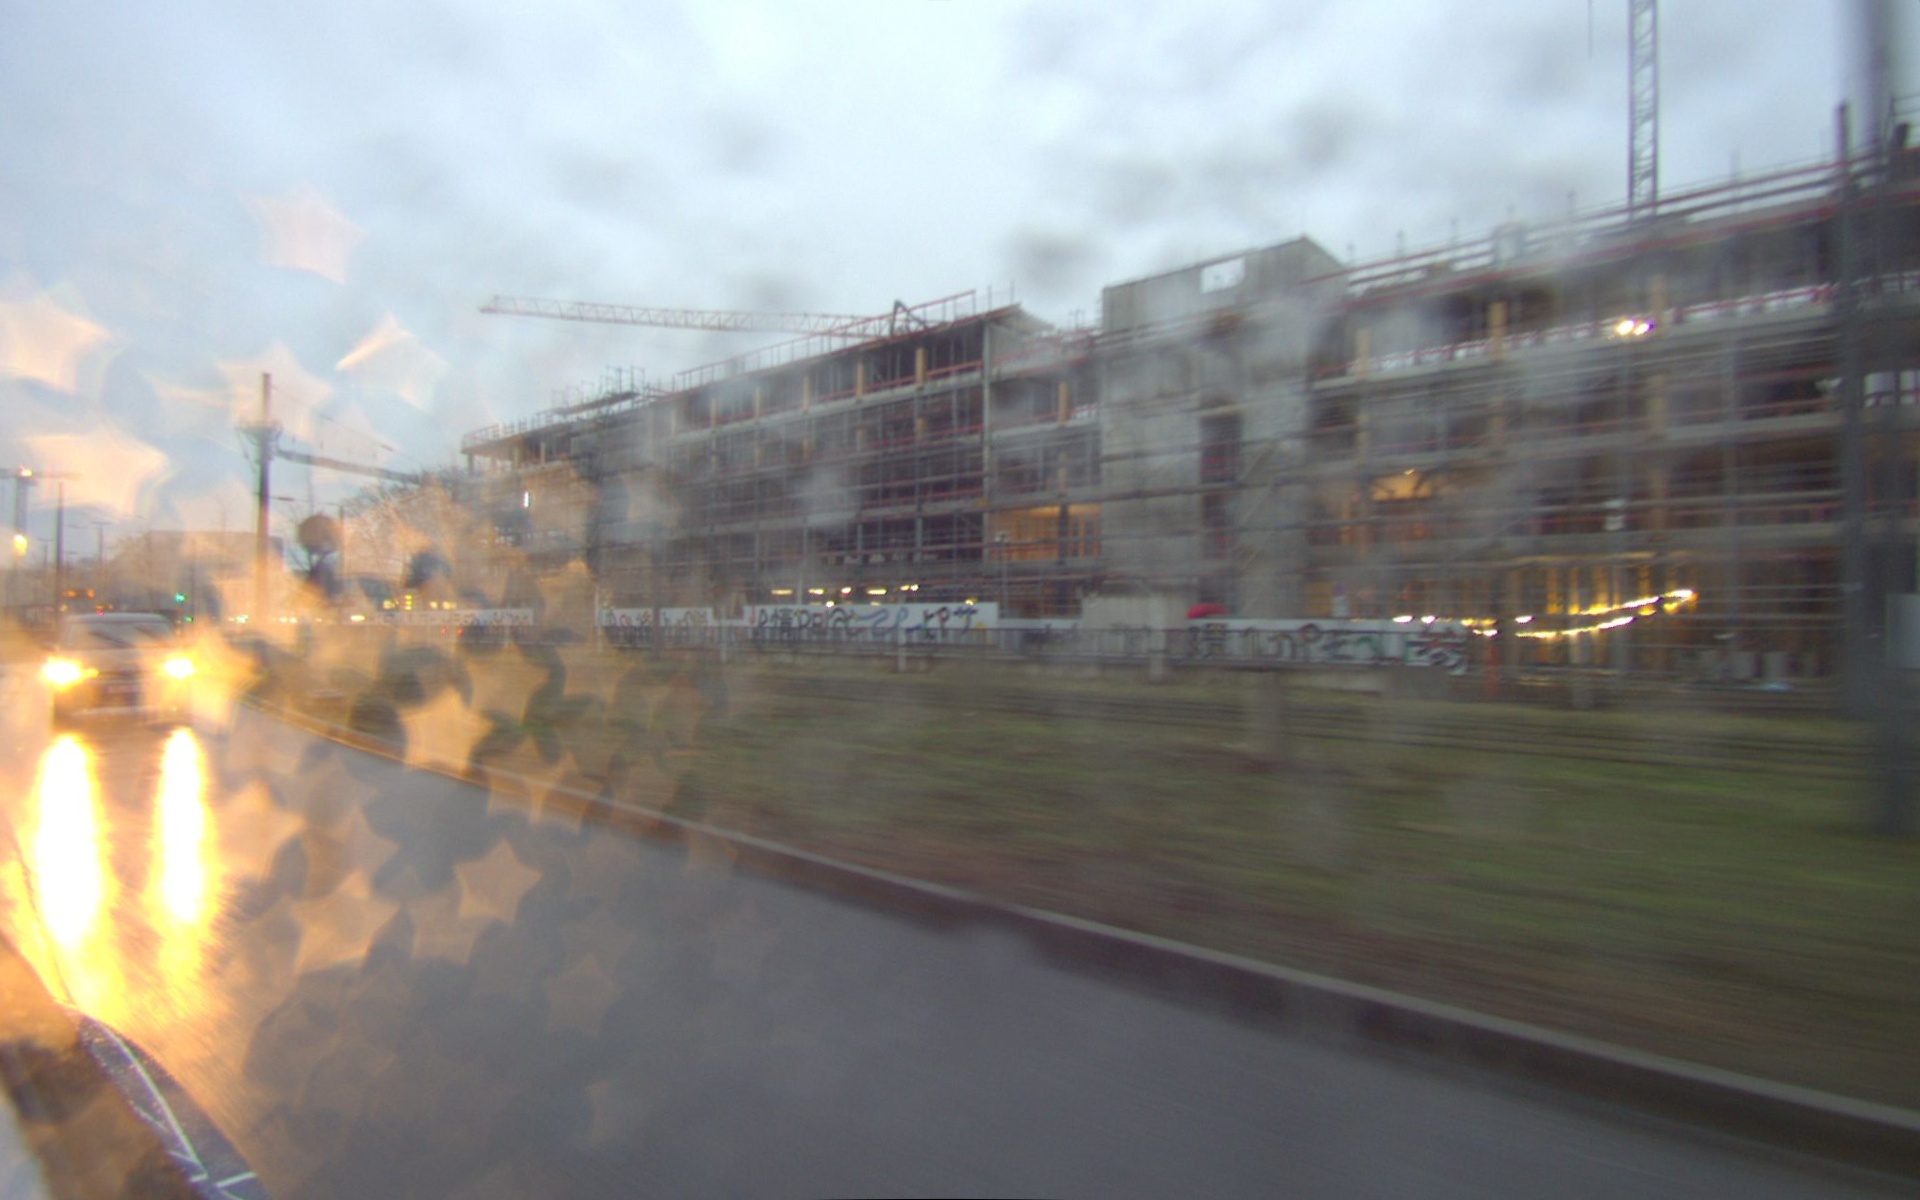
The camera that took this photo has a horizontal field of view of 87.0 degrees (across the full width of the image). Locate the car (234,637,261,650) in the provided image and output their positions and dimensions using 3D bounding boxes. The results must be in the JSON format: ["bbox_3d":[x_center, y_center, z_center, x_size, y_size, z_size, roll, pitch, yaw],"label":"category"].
[{"bbox_3d":[-83.848,5.062,119.022,4.339,1.425,1.664,-2,-1,42],"label":"car"}]

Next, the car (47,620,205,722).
[{"bbox_3d":[-13.716,1.074,16.574,1.783,1.464,4.009,2,-2,-42],"label":"car"}]

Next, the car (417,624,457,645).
[{"bbox_3d":[-43.279,2.832,83.741,3.763,1.675,1.735,-3,-3,42],"label":"car"}]
